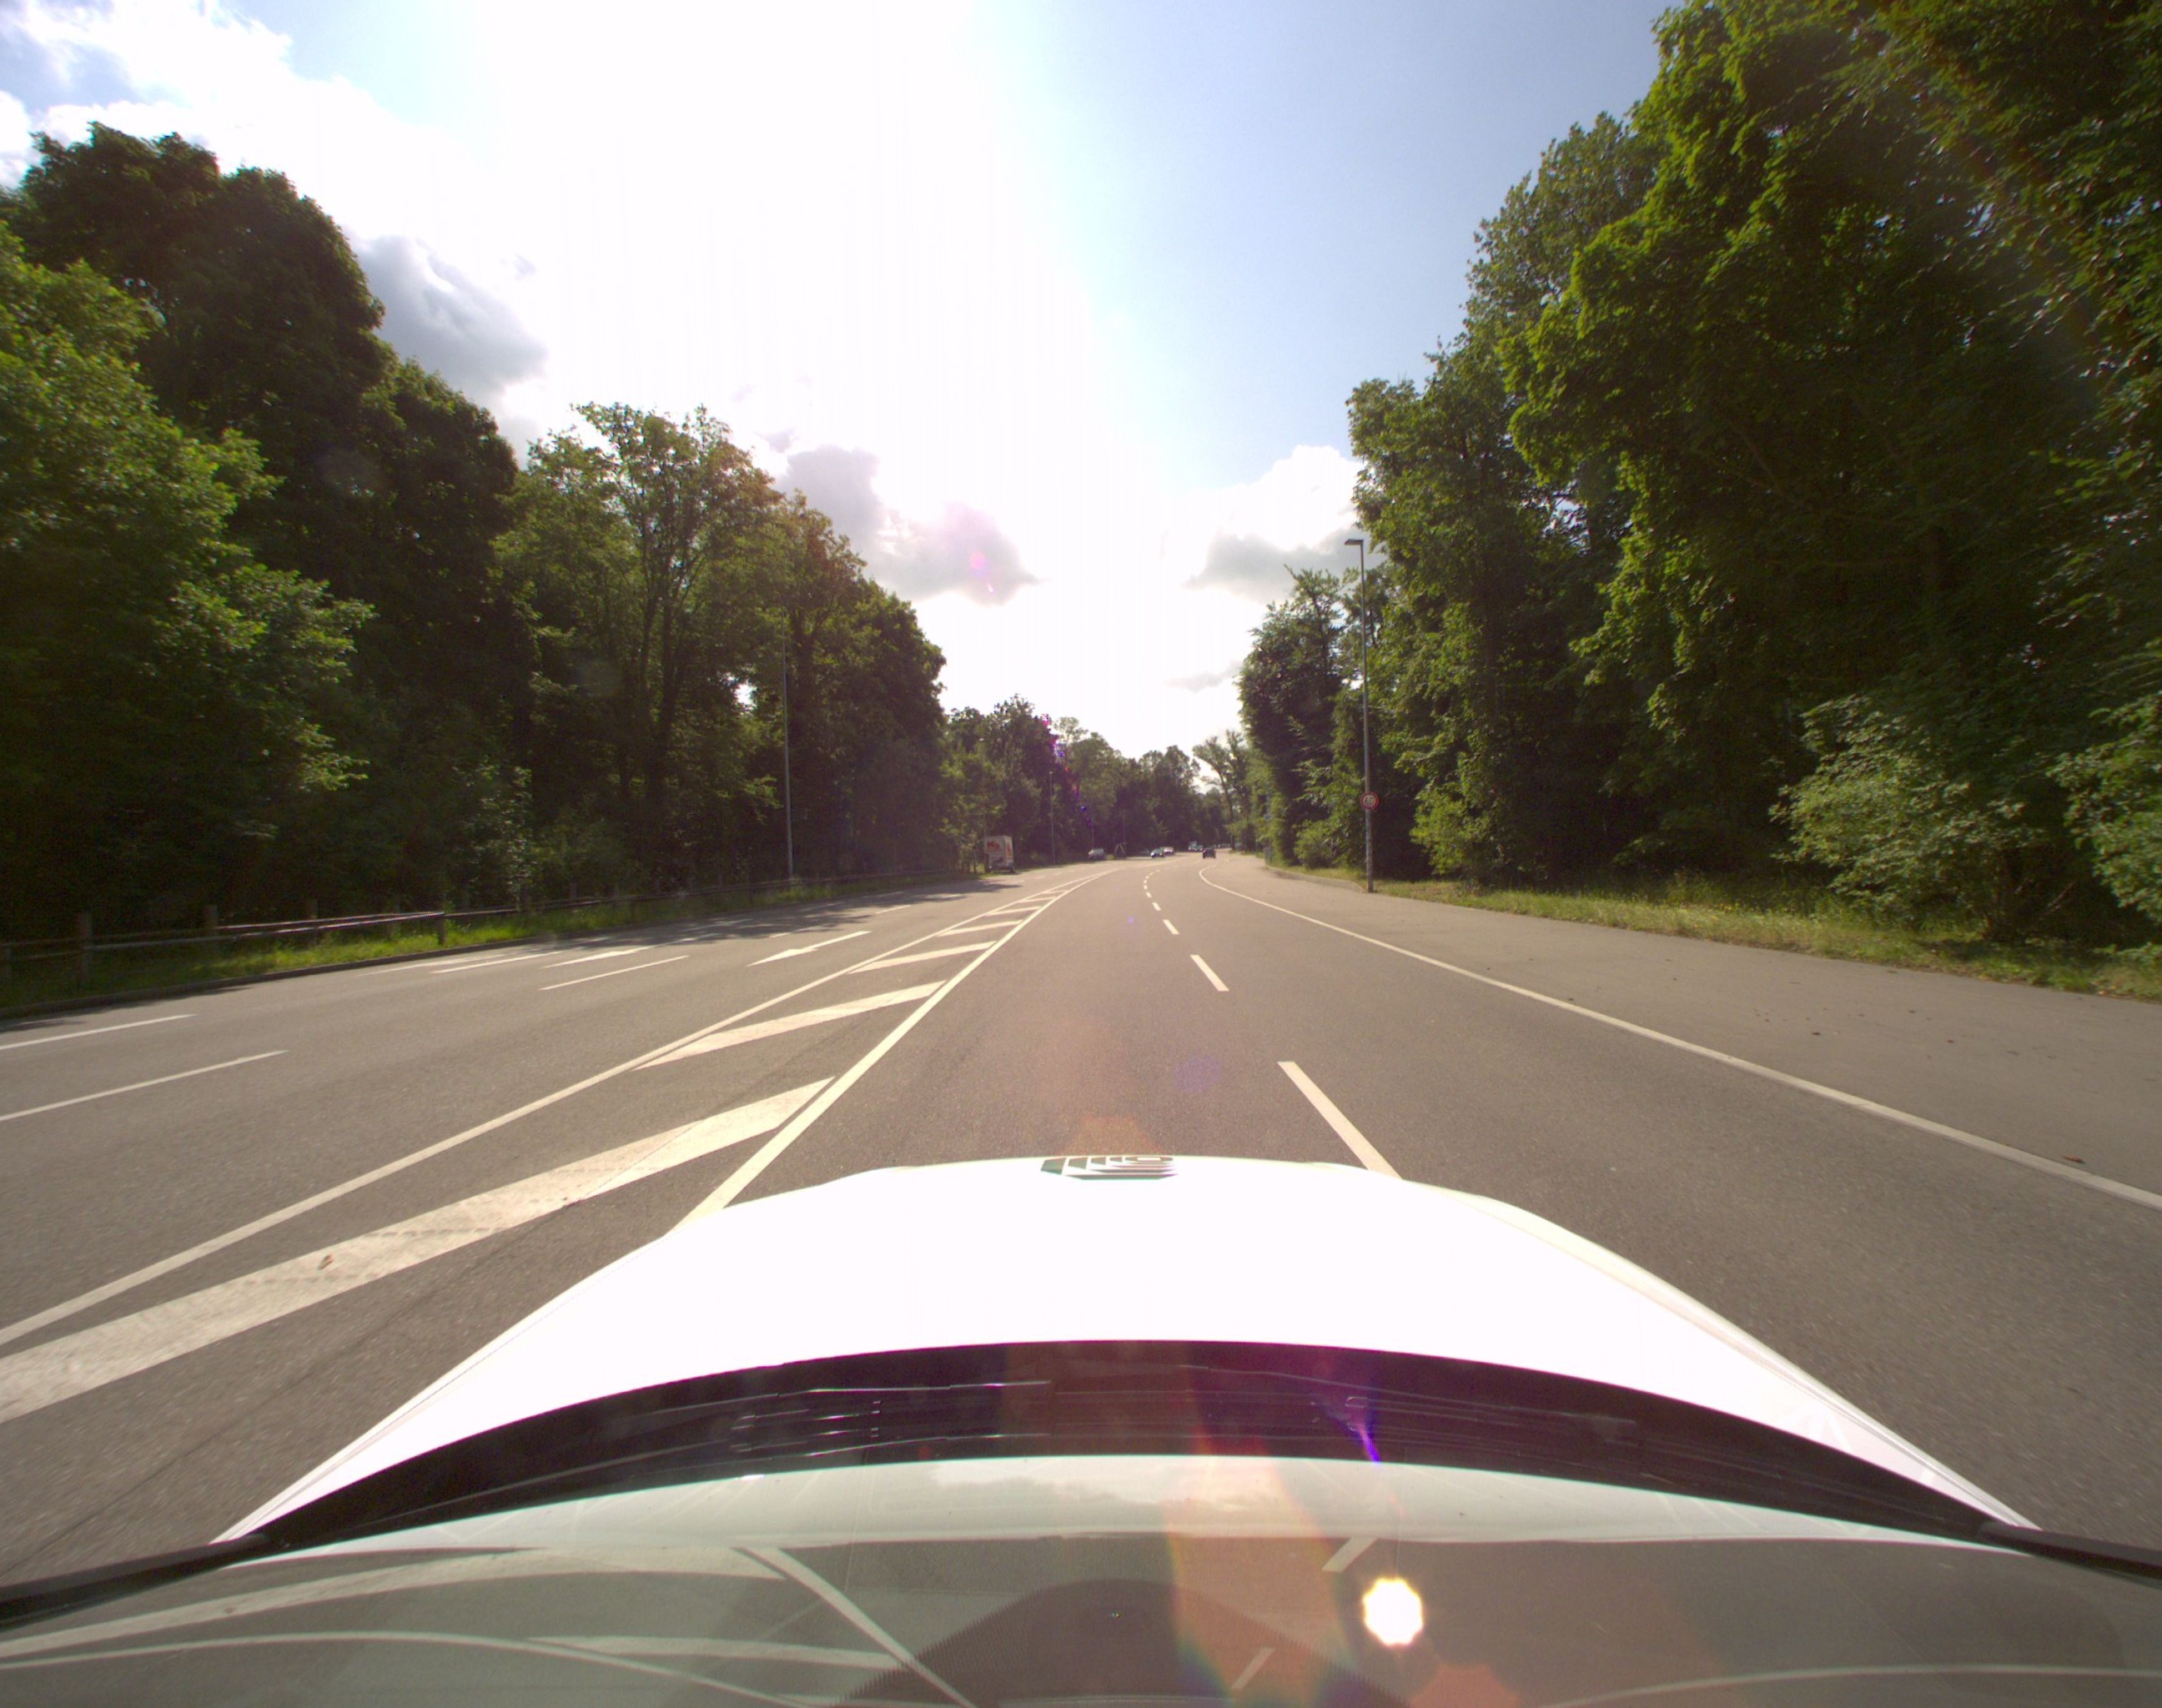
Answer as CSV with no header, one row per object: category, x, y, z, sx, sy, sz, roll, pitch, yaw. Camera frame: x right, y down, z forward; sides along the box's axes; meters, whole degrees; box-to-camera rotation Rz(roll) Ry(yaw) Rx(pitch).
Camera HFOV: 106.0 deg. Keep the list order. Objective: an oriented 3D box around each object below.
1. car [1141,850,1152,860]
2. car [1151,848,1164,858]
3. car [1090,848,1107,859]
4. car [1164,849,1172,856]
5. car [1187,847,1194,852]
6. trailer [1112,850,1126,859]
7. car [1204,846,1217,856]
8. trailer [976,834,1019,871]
car,12.295,0.128,153.364,1.913,1.855,4.006,-1,0,5
car,11.923,-0.200,126.608,1.493,1.446,3.541,-1,0,13
car,2.196,-0.074,103.003,1.493,1.446,3.542,-1,0,13
car,17.754,-0.248,166.295,1.496,1.446,3.535,-1,0,6
car,27.721,-1.128,205.870,1.493,1.446,3.540,-1,0,11
trailer,5.879,0.049,125.415,1.705,1.354,3.744,-1,0,11
car,18.239,-0.436,114.907,1.587,1.378,3.989,-1,0,12
trailer,-5.557,-0.111,54.735,1.983,2.388,4.008,-1,0,7
